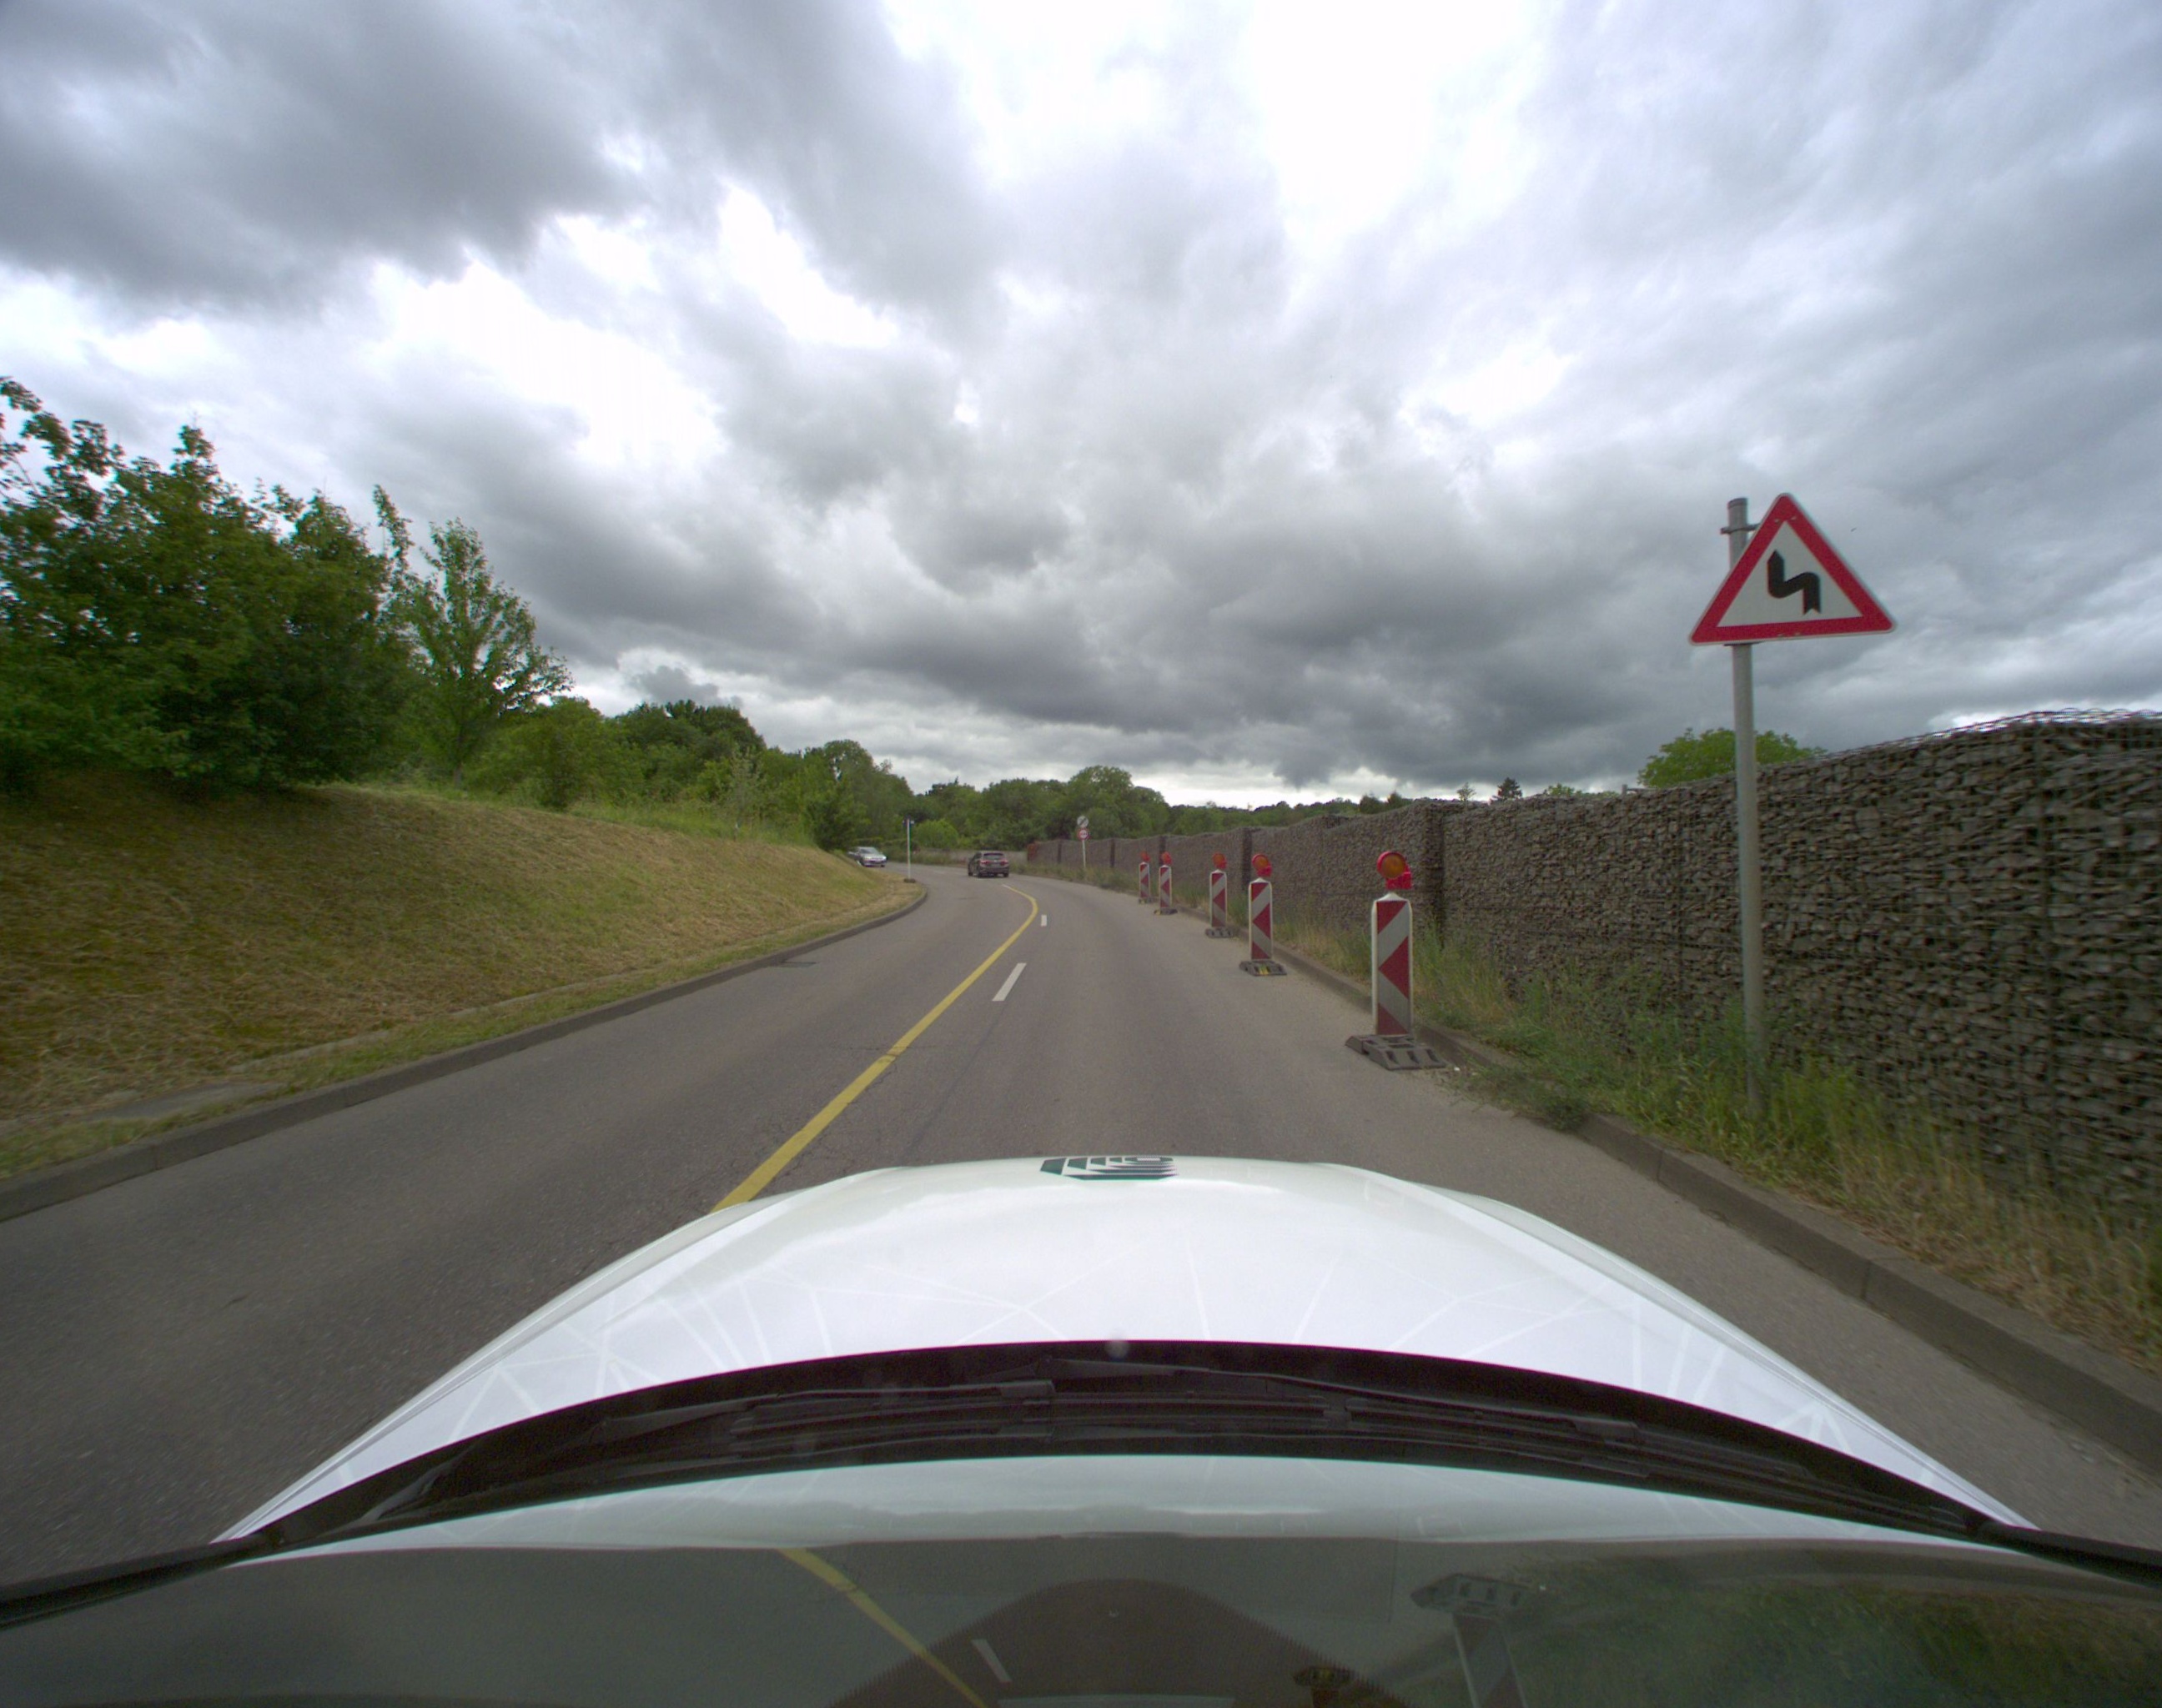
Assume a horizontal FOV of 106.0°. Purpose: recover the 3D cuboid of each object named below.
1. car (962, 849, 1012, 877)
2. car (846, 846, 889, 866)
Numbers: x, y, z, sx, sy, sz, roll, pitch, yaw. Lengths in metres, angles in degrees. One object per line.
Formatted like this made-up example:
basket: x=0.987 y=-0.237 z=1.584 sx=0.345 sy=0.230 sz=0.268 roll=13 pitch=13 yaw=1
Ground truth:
car: x=-5.523 y=0.479 z=47.472 sx=1.848 sy=1.483 sz=3.969 roll=-1 pitch=1 yaw=-24
car: x=-16.405 y=0.124 z=62.464 sx=1.895 sy=1.477 sz=4.555 roll=-2 pitch=2 yaw=-32
